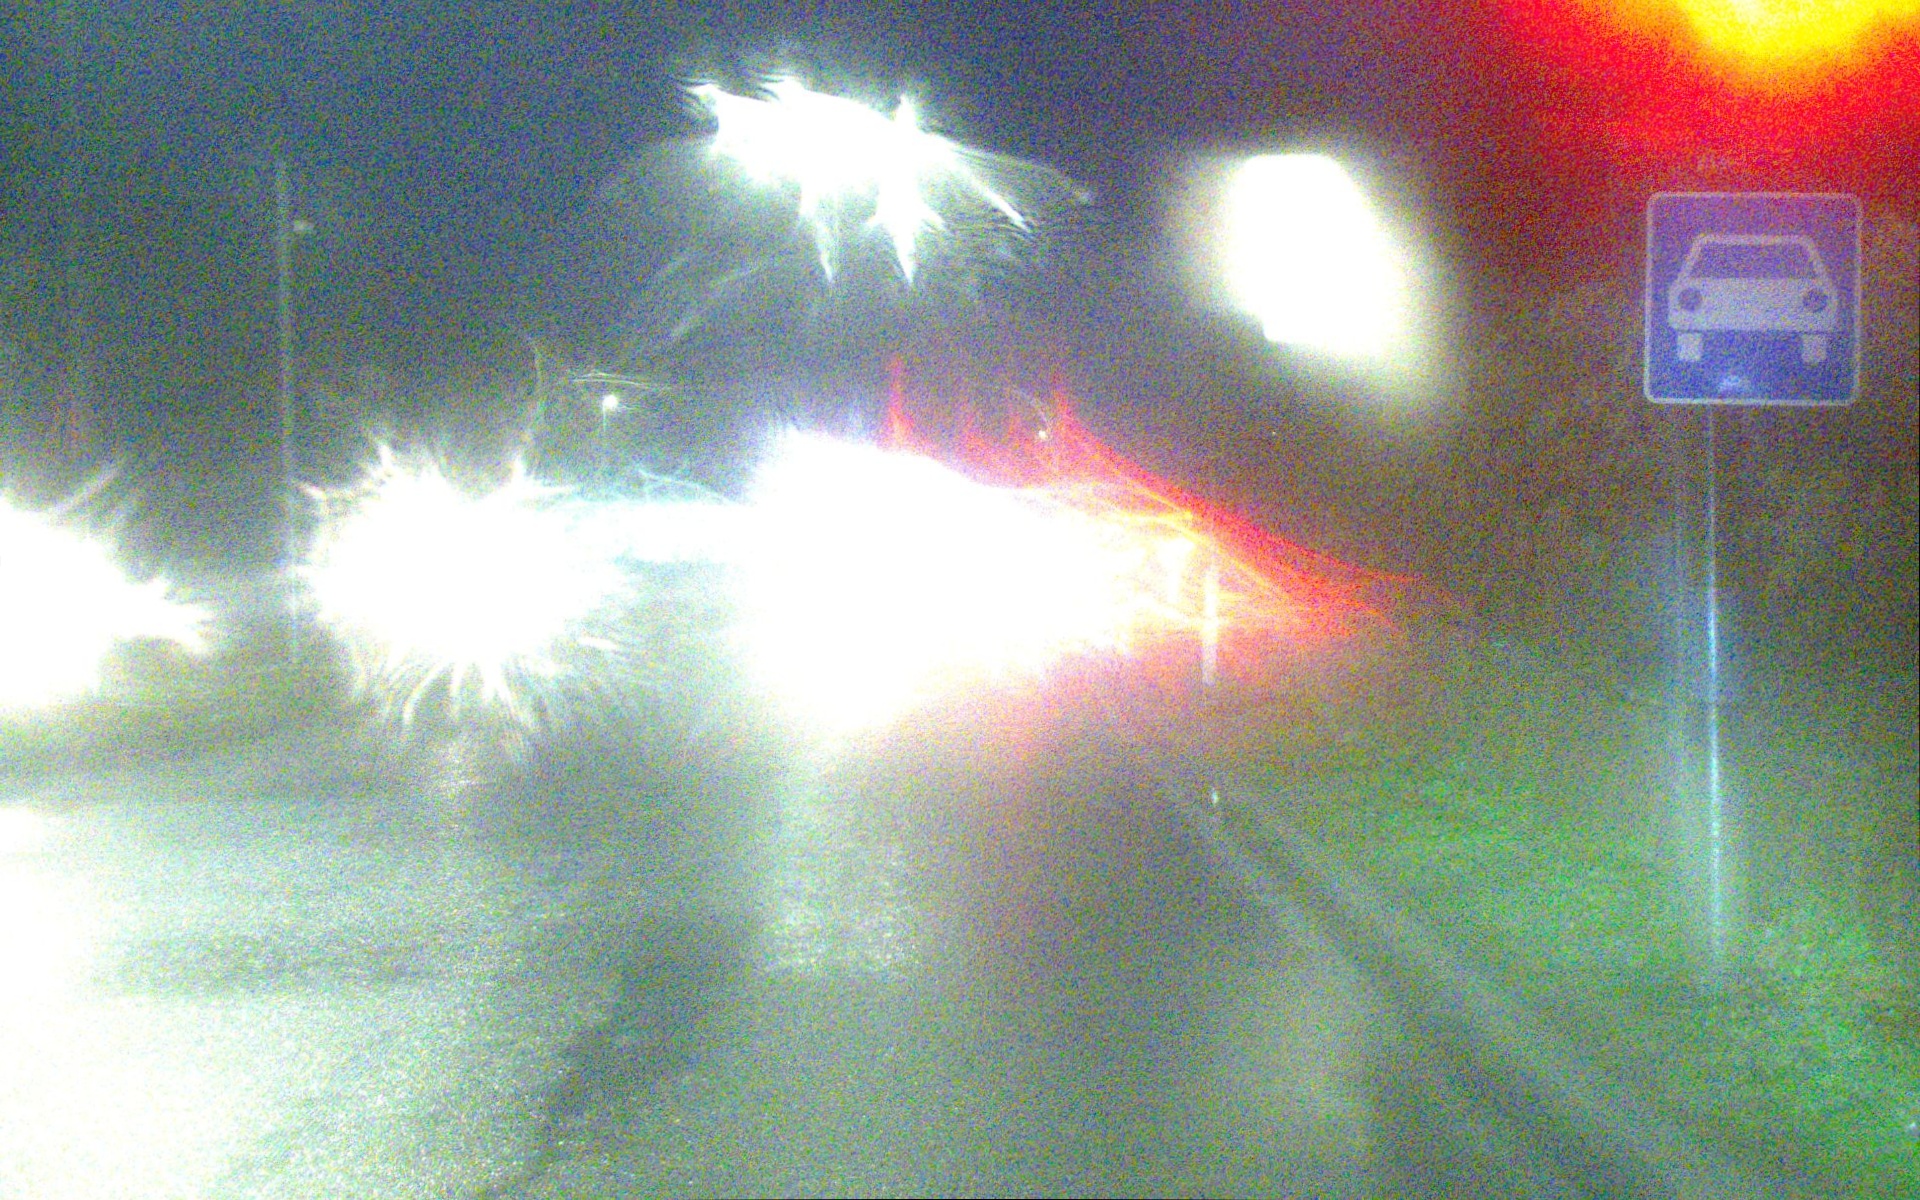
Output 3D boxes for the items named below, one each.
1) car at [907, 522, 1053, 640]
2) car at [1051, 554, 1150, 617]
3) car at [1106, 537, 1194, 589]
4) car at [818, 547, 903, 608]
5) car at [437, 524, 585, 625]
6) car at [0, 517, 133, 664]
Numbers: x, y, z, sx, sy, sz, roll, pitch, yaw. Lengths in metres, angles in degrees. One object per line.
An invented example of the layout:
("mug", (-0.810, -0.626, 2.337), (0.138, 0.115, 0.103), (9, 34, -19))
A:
("car", (0.253, -0.265, 48.902), (1.993, 1.605, 4.103), (0, 0, -1))
("car", (3.239, -0.331, 79.809), (2.103, 1.434, 4.000), (0, 0, 0))
("car", (5.062, -0.978, 92.121), (2.107, 1.335, 4.294), (0, 0, 0))
("car", (-2.552, -0.566, 89.050), (1.708, 1.529, 4.599), (0, 0, 5))
("car", (-7.827, -0.442, 60.259), (1.718, 1.697, 4.142), (0, 0, 5))
("car", (-10.310, -0.103, 37.328), (1.585, 1.520, 3.651), (0, 0, 3))
